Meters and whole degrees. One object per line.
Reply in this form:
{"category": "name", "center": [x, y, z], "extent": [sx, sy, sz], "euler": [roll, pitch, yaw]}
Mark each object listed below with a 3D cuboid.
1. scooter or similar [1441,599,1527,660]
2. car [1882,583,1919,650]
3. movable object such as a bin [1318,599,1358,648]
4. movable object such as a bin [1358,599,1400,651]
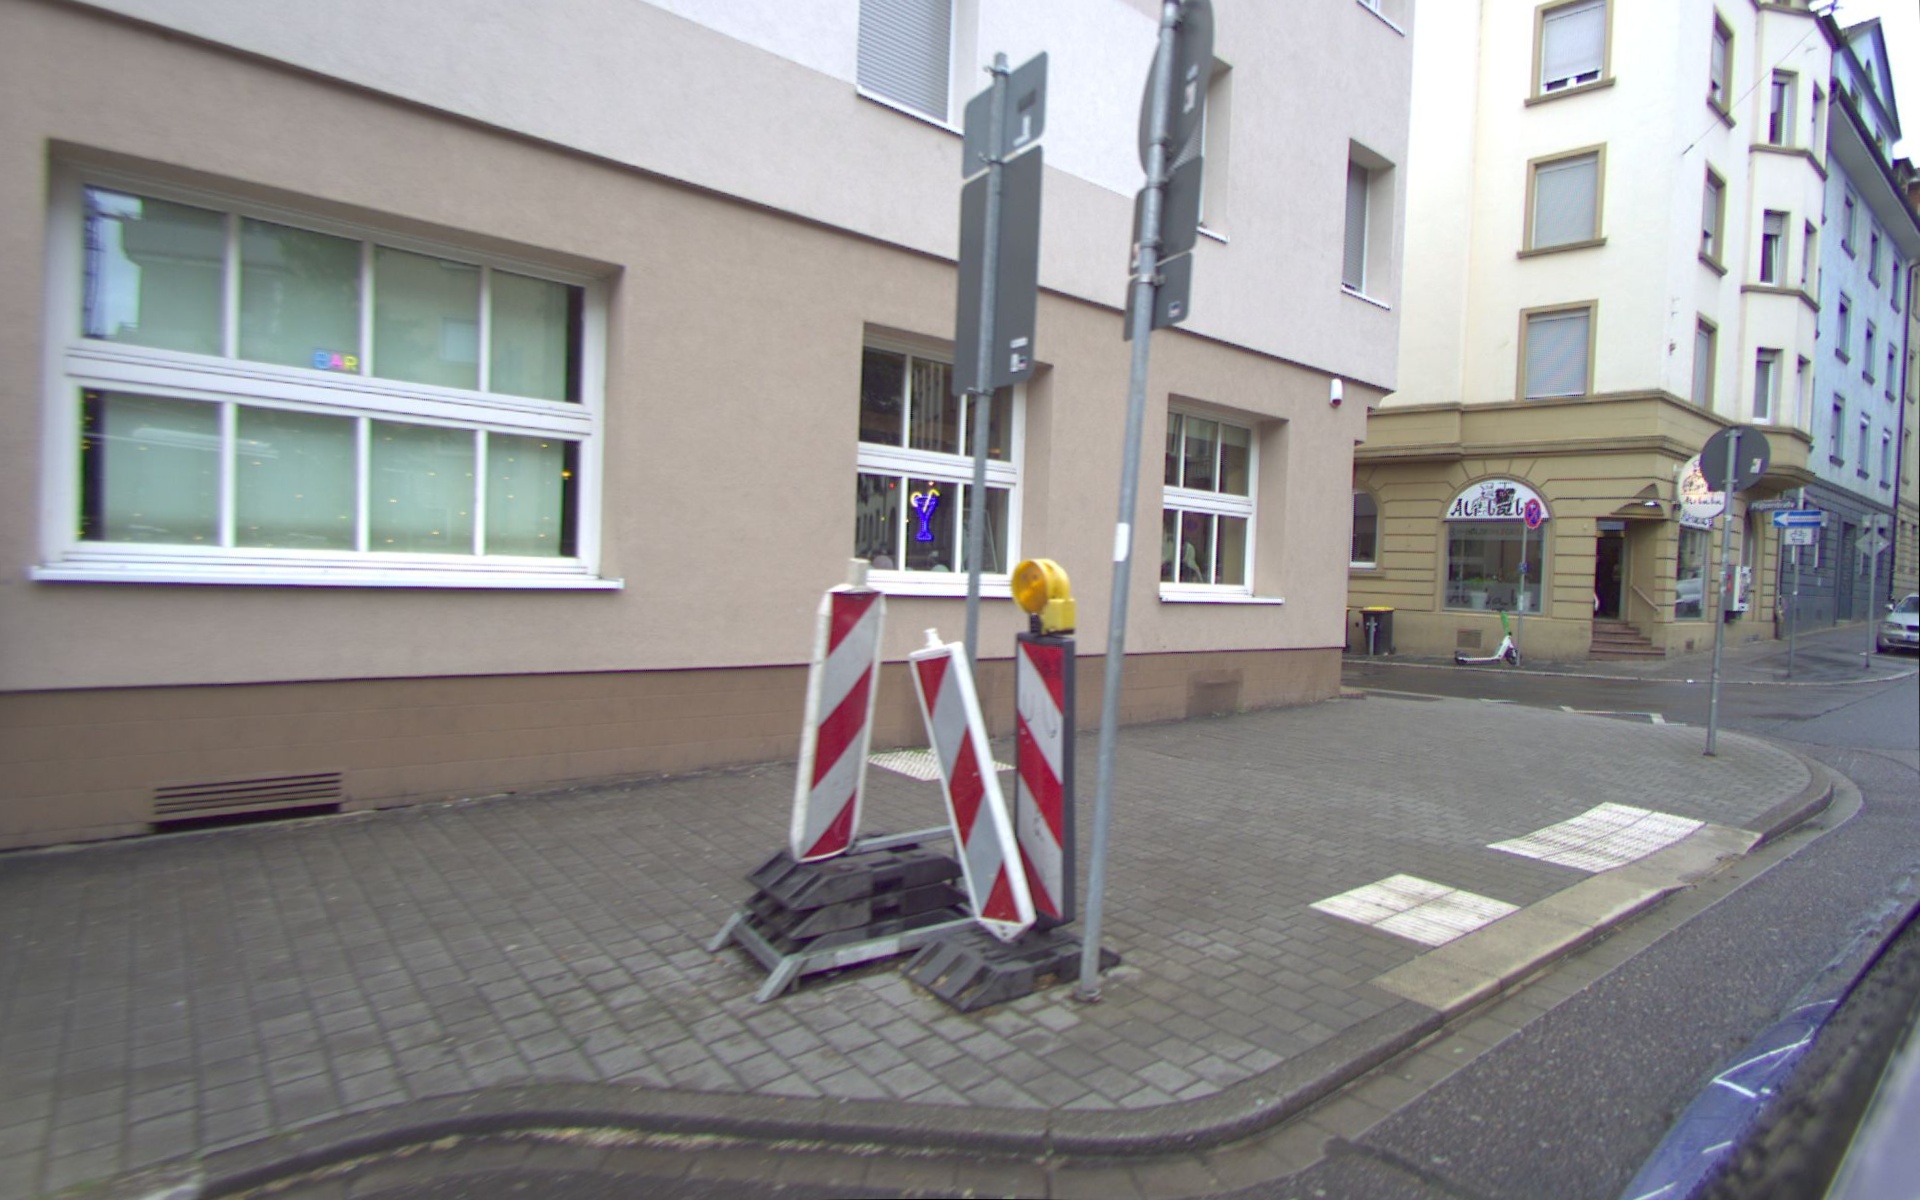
{"category": "scooter or similar", "center": [10.667, 0.597, 20.652], "extent": [1.457, 1.163, 0.486], "euler": [-1, 5, 13]}
{"category": "car", "center": [23.332, 0.361, 23.903], "extent": [4.132, 1.482, 1.854], "euler": [-1, 2, -41]}
{"category": "movable object such as a bin", "center": [8.834, 0.535, 23.639], "extent": [0.674, 1.089, 0.693], "euler": [2, 4, 43]}
{"category": "movable object such as a bin", "center": [9.470, 0.557, 22.861], "extent": [0.674, 1.089, 0.693], "euler": [2, 4, 43]}
